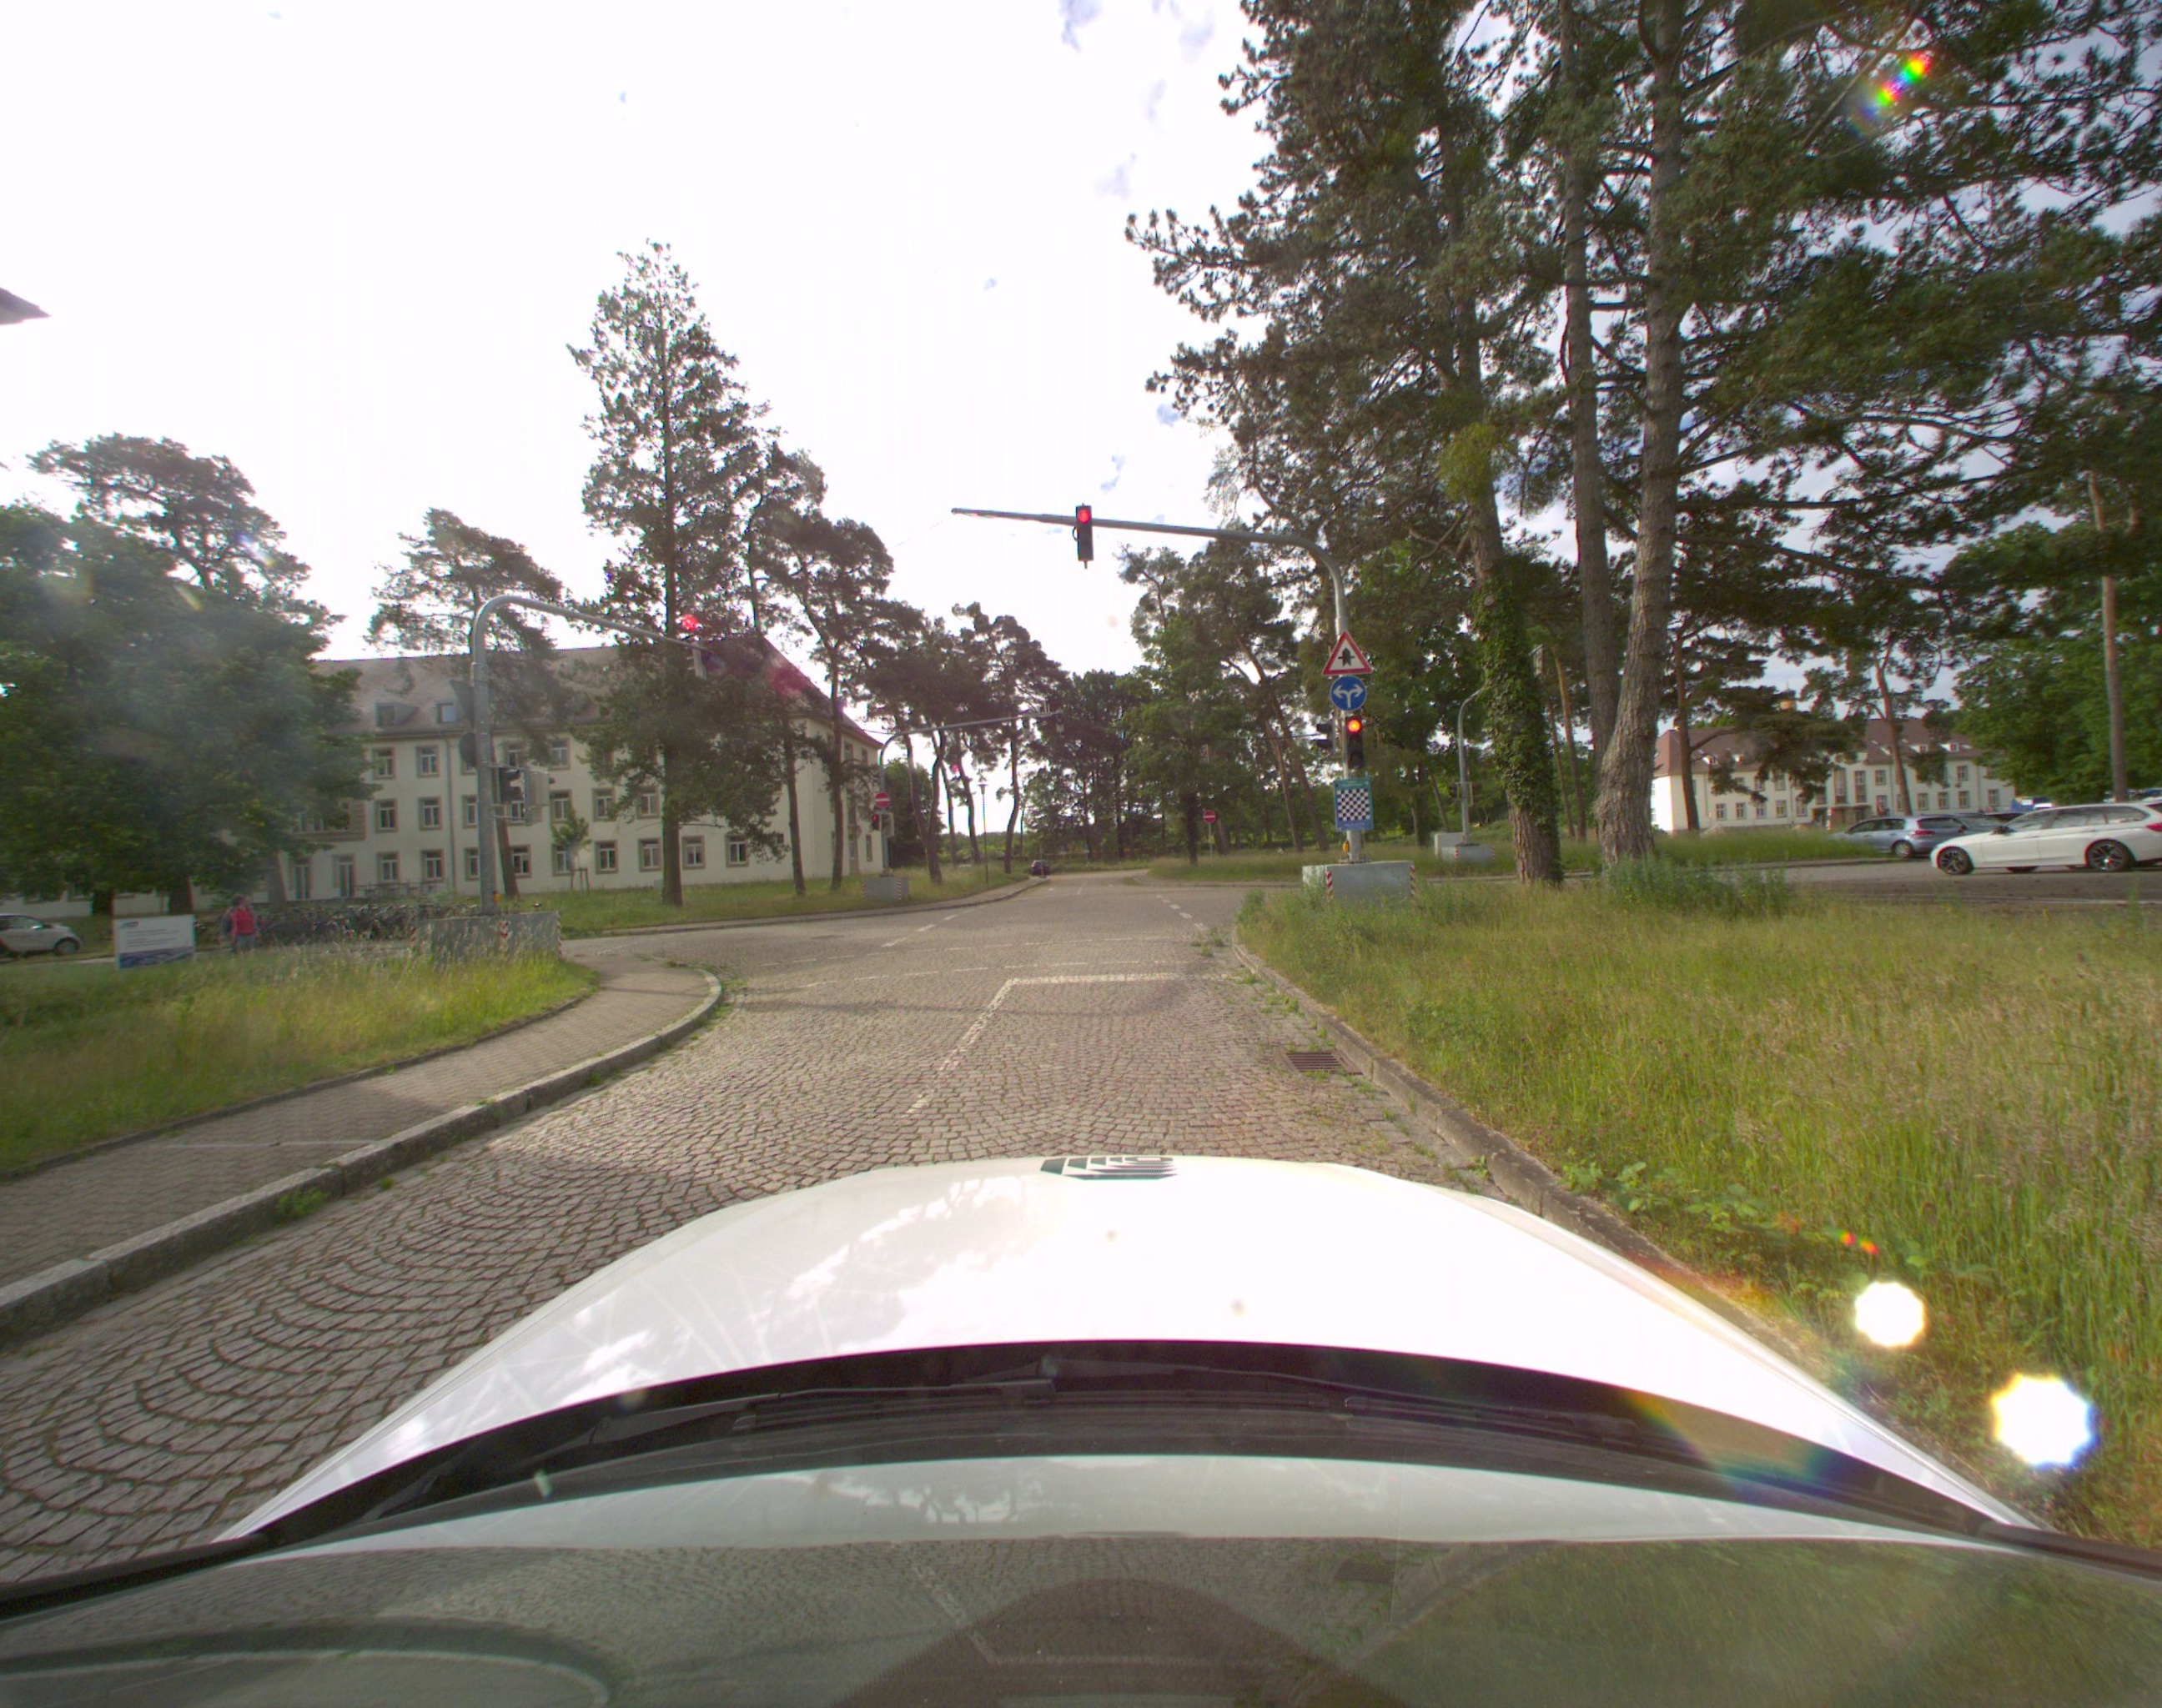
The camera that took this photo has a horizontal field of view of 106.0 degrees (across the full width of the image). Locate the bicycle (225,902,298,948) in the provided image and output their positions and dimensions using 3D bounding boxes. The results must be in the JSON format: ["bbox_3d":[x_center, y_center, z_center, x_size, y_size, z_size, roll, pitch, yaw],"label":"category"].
[{"bbox_3d":[-25.909,2.214,25.776,0.441,1.283,1.785,-3,0,0],"label":"bicycle"}]

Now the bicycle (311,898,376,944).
[{"bbox_3d":[-23.216,2.077,25.670,0.447,1.283,1.695,-3,0,0],"label":"bicycle"}]

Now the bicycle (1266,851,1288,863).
[{"bbox_3d":[20.114,0.335,83.473,1.982,1.095,0.809,-3,0,-3],"label":"bicycle"}]

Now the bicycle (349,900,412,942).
[{"bbox_3d":[-21.998,2.090,25.599,0.447,1.178,1.695,-3,0,0],"label":"bicycle"}]

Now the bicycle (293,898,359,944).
[{"bbox_3d":[-23.731,2.093,25.629,0.447,1.283,1.695,-3,0,0],"label":"bicycle"}]

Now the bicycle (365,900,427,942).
[{"bbox_3d":[-21.512,2.088,25.617,0.447,1.178,1.695,-3,0,0],"label":"bicycle"}]

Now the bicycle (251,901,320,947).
[{"bbox_3d":[-24.956,2.184,25.585,0.447,1.283,1.695,-3,0,0],"label":"bicycle"}]

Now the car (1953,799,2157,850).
[{"bbox_3d":[33.958,-0.968,28.624,1.748,1.524,4.444,-3,0,-2],"label":"car"}]

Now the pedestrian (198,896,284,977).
[{"bbox_3d":[-18.612,1.802,18.066,0.856,1.668,0.941,-3,0,3],"label":"pedestrian"}]

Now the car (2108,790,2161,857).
[{"bbox_3d":[26.625,-0.778,18.105,1.861,1.577,4.444,-3,0,-2],"label":"car"}]

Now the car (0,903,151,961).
[{"bbox_3d":[-34.347,2.587,27.260,1.832,1.556,3.898,-3,0,2],"label":"car"}]

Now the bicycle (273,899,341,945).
[{"bbox_3d":[-24.294,2.110,25.609,0.447,1.283,1.695,-3,0,0],"label":"bicycle"}]

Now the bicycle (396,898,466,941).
[{"bbox_3d":[-20.416,2.041,25.636,0.573,1.178,1.954,-3,0,0],"label":"bicycle"}]

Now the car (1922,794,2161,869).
[{"bbox_3d":[21.403,-0.444,17.582,1.748,1.415,4.444,-3,-1,-2],"label":"car"}]

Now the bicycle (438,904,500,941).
[{"bbox_3d":[-18.212,2.025,24.243,1.453,0.996,0.452,-3,0,2],"label":"bicycle"}]

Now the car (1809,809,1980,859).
[{"bbox_3d":[28.891,-0.664,29.153,1.745,1.524,4.450,-3,0,3],"label":"car"}]

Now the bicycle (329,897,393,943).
[{"bbox_3d":[-22.711,2.061,25.709,0.447,1.283,1.695,-3,0,0],"label":"bicycle"}]

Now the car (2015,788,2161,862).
[{"bbox_3d":[23.978,-0.673,17.830,1.861,1.577,4.444,-3,0,-2],"label":"car"}]

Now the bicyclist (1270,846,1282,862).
[{"bbox_3d":[19.995,-0.015,83.481,0.972,1.510,0.807,-3,0,-2],"label":"bicyclist"}]

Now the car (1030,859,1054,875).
[{"bbox_3d":[-3.842,1.285,81.421,1.986,1.508,4.002,-1,0,2],"label":"car"}]

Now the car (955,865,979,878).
[{"bbox_3d":[-11.560,1.728,82.637,1.682,1.156,4.002,-3,0,2],"label":"car"}]

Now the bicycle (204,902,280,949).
[{"bbox_3d":[-26.375,2.230,25.645,0.447,1.283,1.827,-3,0,0],"label":"bicycle"}]

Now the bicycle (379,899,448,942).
[{"bbox_3d":[-20.999,2.060,25.672,0.526,1.178,1.930,-3,0,0],"label":"bicycle"}]

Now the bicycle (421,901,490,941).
[{"bbox_3d":[-19.718,2.087,25.714,0.573,1.078,1.996,-3,0,0],"label":"bicycle"}]

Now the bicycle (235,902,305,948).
[{"bbox_3d":[-25.443,2.199,25.575,0.447,1.283,1.695,-3,0,0],"label":"bicycle"}]
